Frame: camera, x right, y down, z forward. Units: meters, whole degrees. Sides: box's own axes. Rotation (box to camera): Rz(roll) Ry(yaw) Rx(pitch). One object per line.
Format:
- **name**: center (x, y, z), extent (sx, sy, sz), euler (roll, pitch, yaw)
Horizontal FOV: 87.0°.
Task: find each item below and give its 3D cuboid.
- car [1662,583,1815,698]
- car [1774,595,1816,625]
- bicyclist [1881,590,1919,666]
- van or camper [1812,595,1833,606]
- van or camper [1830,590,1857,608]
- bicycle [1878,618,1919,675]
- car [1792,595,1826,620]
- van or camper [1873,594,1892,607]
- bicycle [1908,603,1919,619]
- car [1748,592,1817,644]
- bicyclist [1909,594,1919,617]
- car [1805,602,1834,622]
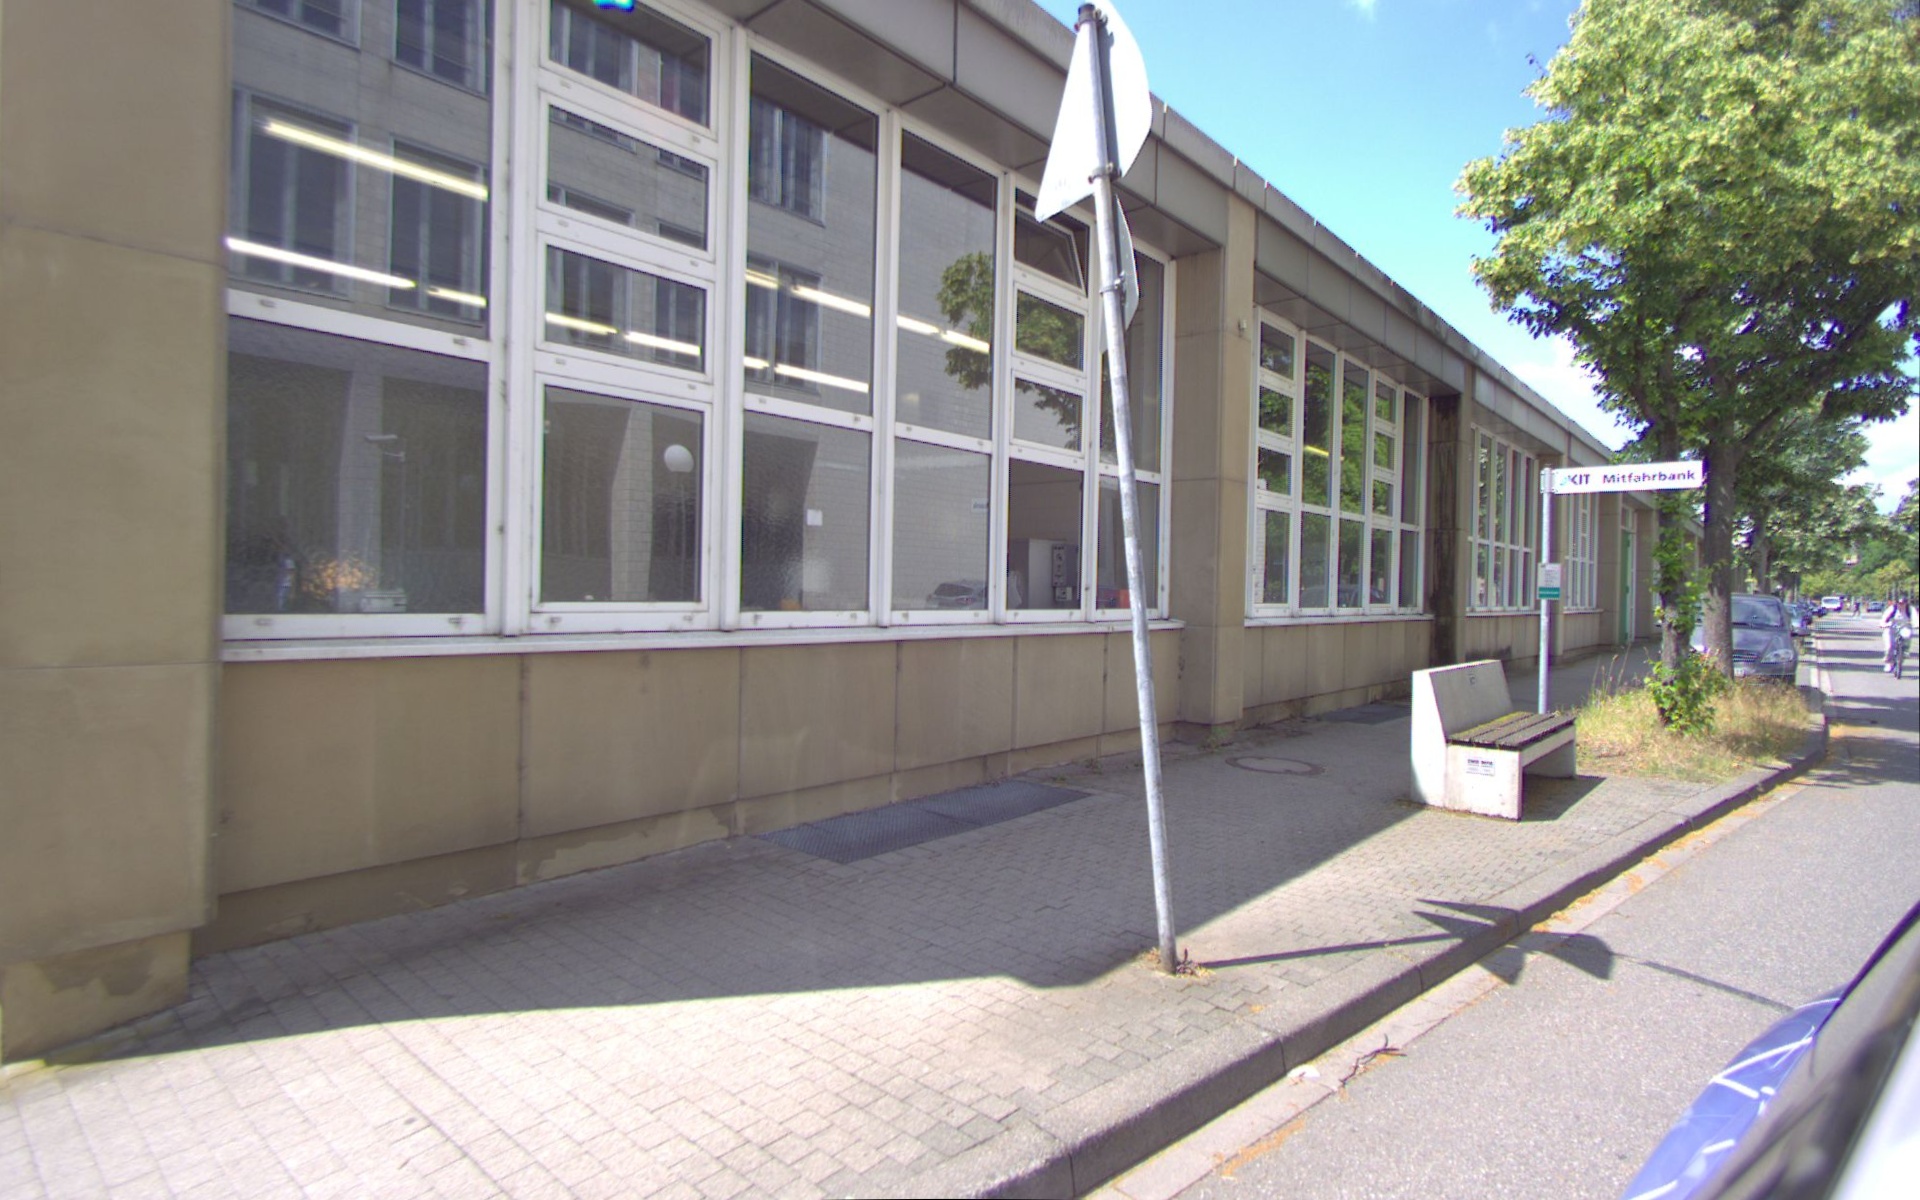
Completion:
- **car**: center (12.771, 0.579, 16.550), extent (1.754, 1.588, 3.762), euler (3, 2, 40)
- **car**: center (45.527, 0.512, 55.191), extent (1.643, 1.511, 3.761), euler (3, 2, 40)
- **bicyclist**: center (19.414, 0.565, 20.690), extent (0.778, 1.505, 0.686), euler (2, 1, 39)
- **van or camper**: center (161.387, 0.003, 189.421), extent (4.179, 1.999, 2.096), euler (0, 1, -36)
- **van or camper**: center (123.731, -0.080, 141.669), extent (4.302, 2.391, 1.999), euler (1, 1, -38)
- **bicycle**: center (19.396, 0.936, 20.681), extent (0.777, 1.061, 1.886), euler (2, 1, 38)
- **car**: center (55.852, 0.491, 66.604), extent (1.643, 1.511, 3.761), euler (3, 2, 40)
- **van or camper**: center (161.653, 0.092, 177.346), extent (4.226, 2.132, 1.853), euler (0, 1, -40)
- **bicycle**: center (73.809, 0.859, 77.927), extent (1.008, 1.190, 3.343), euler (1, 1, 41)
- **car**: center (27.141, 0.558, 33.382), extent (1.616, 1.530, 3.762), euler (5, 3, 40)
- **bicyclist**: center (73.809, 0.411, 77.923), extent (1.049, 1.721, 1.263), euler (1, 0, 41)
- **car**: center (82.177, 1.149, 96.763), extent (1.992, 1.838, 3.940), euler (2, 1, 42)
